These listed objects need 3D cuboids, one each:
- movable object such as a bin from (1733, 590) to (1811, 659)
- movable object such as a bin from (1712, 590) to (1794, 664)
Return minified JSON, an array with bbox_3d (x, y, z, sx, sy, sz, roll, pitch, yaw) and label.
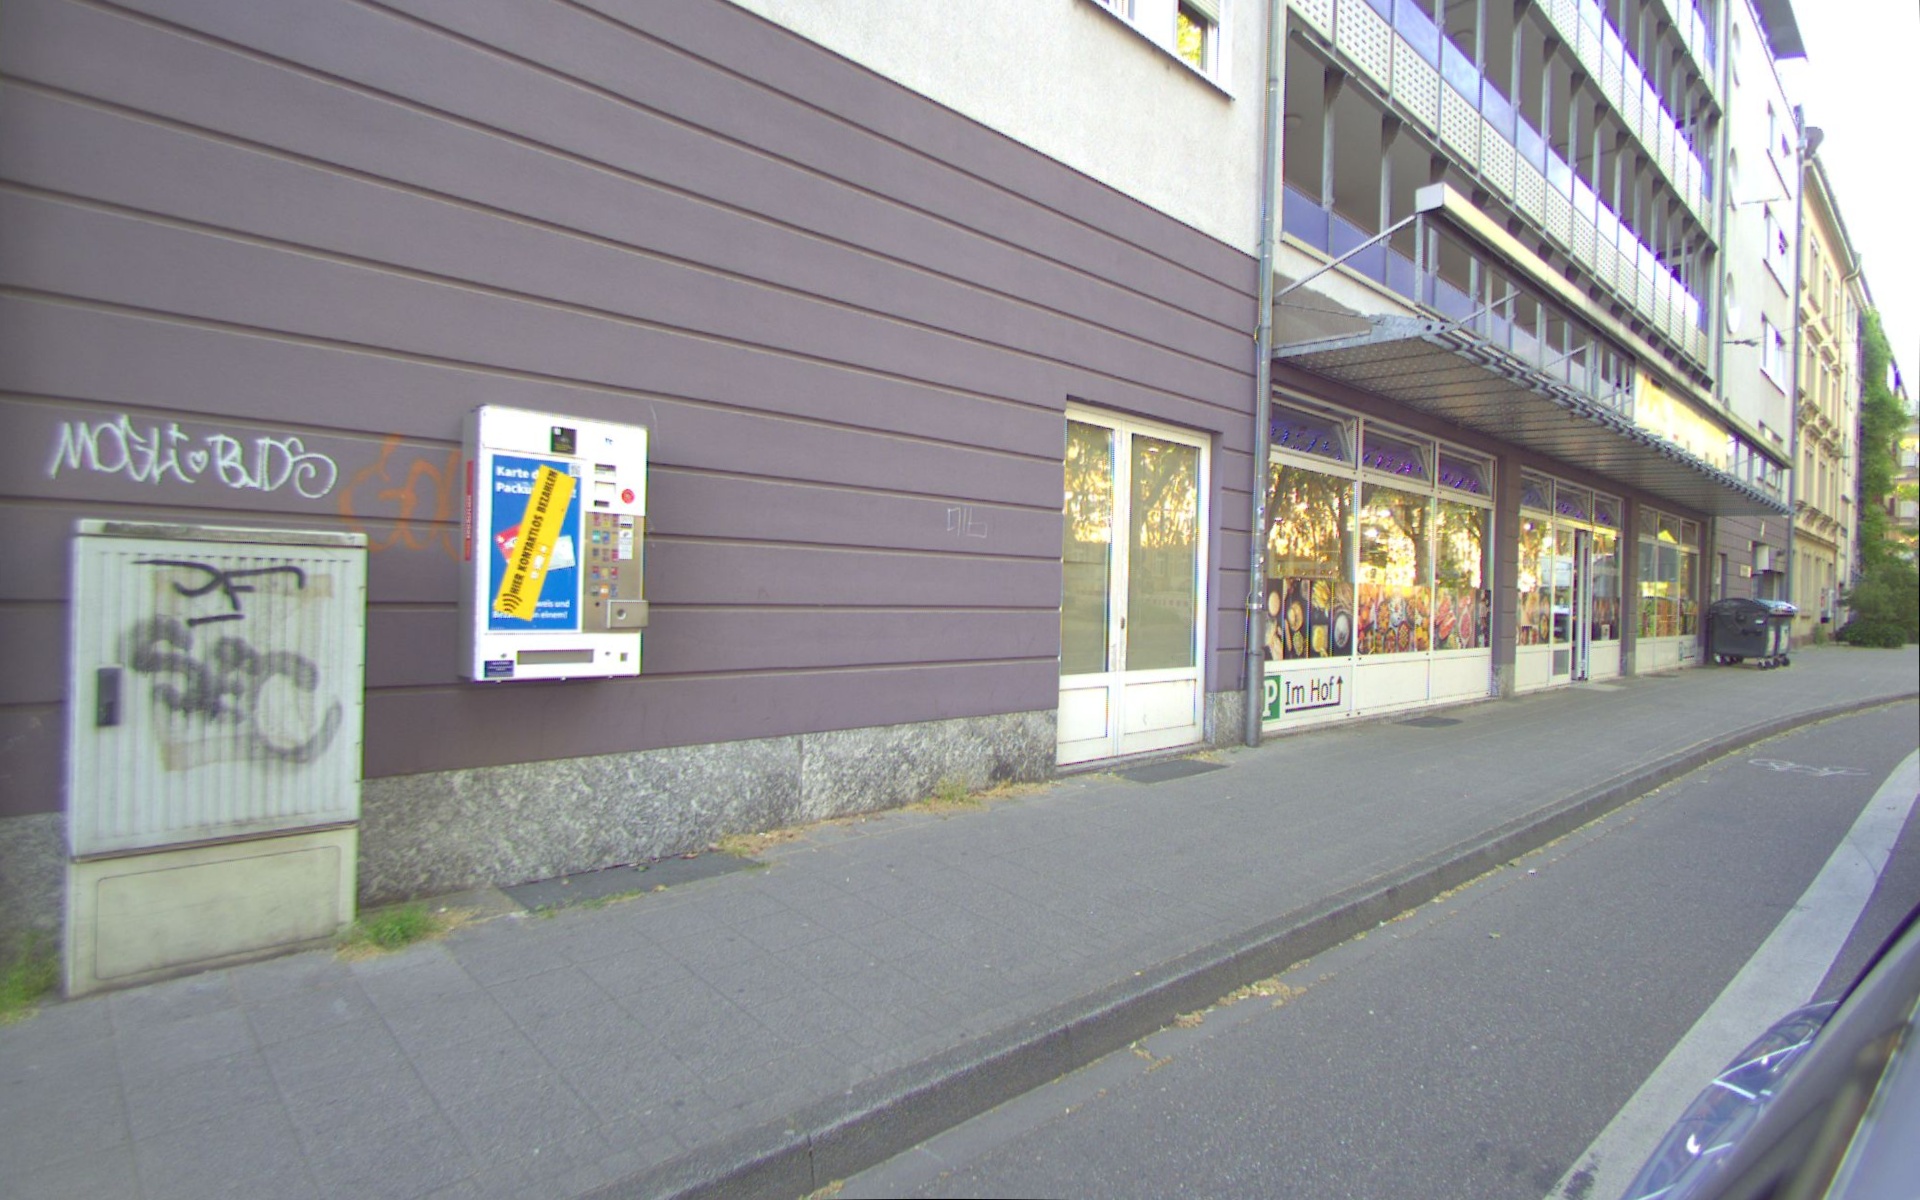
[{"bbox_3d":[17.770,0.520,22.146,0.923,1.444,1.158,1,1,-40],"label":"movable object such as a bin"},{"bbox_3d":[16.291,0.538,20.795,0.923,1.444,1.158,1,1,-40],"label":"movable object such as a bin"}]
